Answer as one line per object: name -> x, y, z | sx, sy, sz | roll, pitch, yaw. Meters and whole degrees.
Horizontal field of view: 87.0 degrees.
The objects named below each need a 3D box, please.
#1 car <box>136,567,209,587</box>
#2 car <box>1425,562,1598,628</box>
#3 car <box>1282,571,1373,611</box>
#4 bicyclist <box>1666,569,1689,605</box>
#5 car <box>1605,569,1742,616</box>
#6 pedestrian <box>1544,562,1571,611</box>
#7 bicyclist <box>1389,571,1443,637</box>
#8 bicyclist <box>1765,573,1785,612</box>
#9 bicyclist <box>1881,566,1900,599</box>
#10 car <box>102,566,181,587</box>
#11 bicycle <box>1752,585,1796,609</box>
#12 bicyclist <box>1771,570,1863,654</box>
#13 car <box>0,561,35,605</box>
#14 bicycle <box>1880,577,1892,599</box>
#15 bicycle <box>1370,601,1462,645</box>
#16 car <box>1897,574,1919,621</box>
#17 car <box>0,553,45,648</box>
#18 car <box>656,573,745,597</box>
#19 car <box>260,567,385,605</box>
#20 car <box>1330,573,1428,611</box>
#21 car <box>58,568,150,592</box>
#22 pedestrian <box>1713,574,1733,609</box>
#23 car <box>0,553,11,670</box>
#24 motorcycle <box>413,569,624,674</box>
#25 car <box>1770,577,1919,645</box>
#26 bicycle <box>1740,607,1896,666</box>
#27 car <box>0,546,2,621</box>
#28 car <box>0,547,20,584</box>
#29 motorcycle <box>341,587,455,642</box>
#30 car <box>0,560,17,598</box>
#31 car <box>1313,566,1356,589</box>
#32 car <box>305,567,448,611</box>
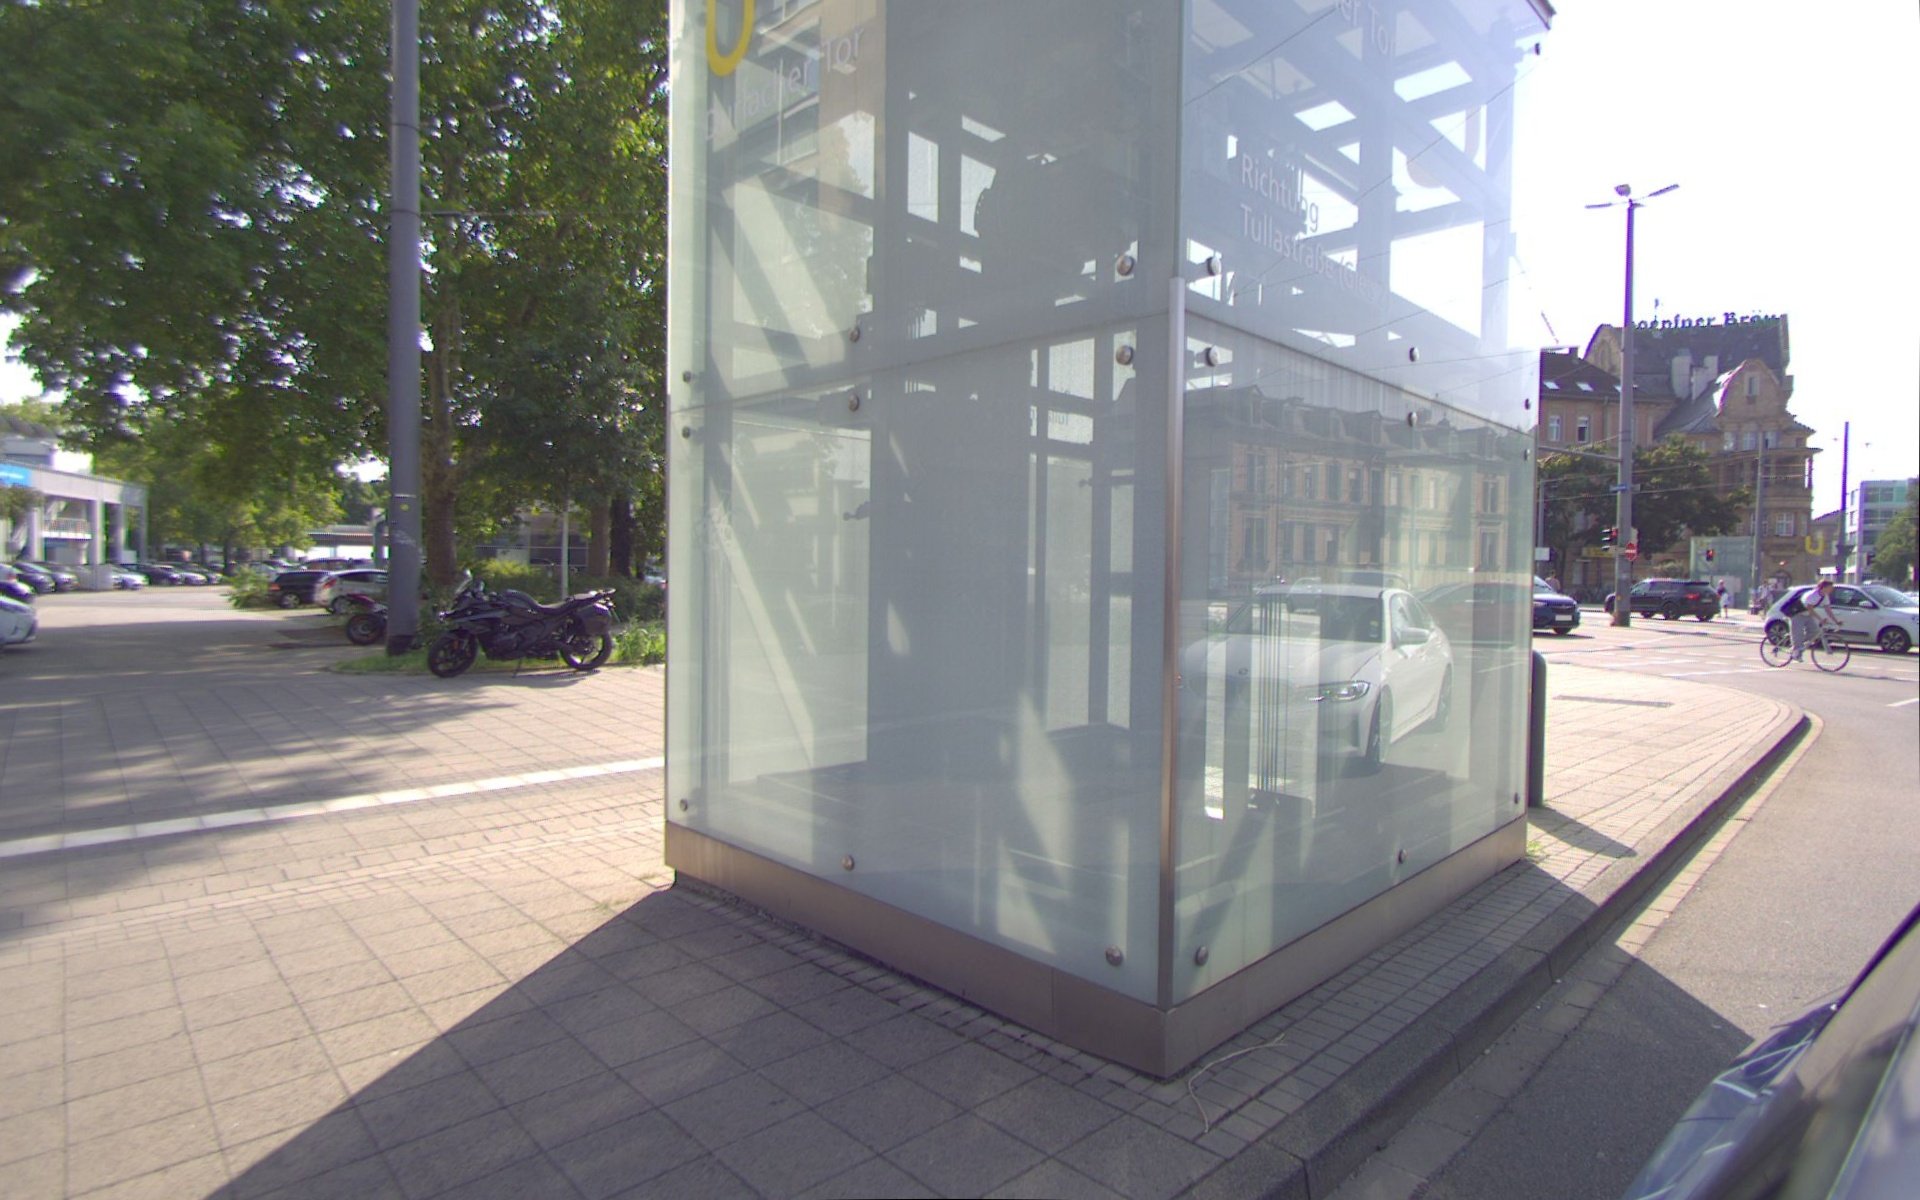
car -> -57.407, -1.697, 73.856 | 3.917, 1.393, 1.746 | 0, 2, -25
car -> 16.641, -0.214, 30.868 | 1.765, 1.850, 4.785 | 1, 2, -15
car -> 14.699, -0.391, 40.703 | 1.766, 1.459, 3.639 | 1, 2, -11
bicyclist -> 34.777, -0.632, 49.046 | 0.575, 1.738, 0.649 | 1, 1, -18
car -> 29.193, -0.343, 41.566 | 1.731, 1.728, 4.300 | 2, 1, -20
pedestrian -> 21.639, -0.503, 36.650 | 0.515, 1.751, 0.599 | 1, 1, -16
bicyclist -> 10.343, 0.084, 22.980 | 0.802, 1.444, 0.732 | 1, 1, -19
bicyclist -> 36.698, -0.350, 45.575 | 0.583, 1.752, 0.588 | 2, 1, 35
bicyclist -> 47.587, -0.891, 51.762 | 0.660, 1.657, 0.905 | 2, 2, 41
car -> -56.702, -1.657, 70.207 | 3.917, 1.393, 1.746 | 0, 2, -25
bicycle -> 36.657, -0.128, 45.594 | 1.517, 1.037, 0.428 | 2, 2, 35
bicyclist -> 16.096, 0.200, 19.018 | 1.066, 1.493, 0.974 | -2, 3, -27
car -> -32.082, -0.559, 32.172 | 3.933, 1.393, 1.996 | -1, 2, -43
bicycle -> 47.480, -0.622, 51.885 | 0.399, 1.103, 1.899 | 2, 2, 41
bicycle -> 10.351, 0.527, 22.963 | 2.031, 0.905, 0.569 | 3, 0, -19
car -> 34.395, -0.018, 33.933 | 1.707, 1.601, 3.985 | 1, 2, -23
car -> -17.206, -0.005, 16.051 | 3.931, 1.525, 1.997 | -1, 2, -42
car -> -13.793, -0.786, 53.792 | 4.306, 1.180, 2.004 | 0, 2, -23
car -> -25.348, -0.584, 40.316 | 3.933, 1.393, 1.996 | -1, 2, -43
car -> 17.229, -0.354, 41.790 | 1.766, 1.433, 4.009 | 1, 2, -11
car -> -52.142, -1.228, 61.730 | 3.917, 1.393, 1.746 | 0, 2, -25
pedestrian -> 36.387, -0.419, 48.281 | 0.495, 1.661, 0.525 | 1, 1, -14
car -> -14.023, 0.142, 11.888 | 4.122, 1.459, 1.659 | -1, 2, -42
motorcycle -> -5.247, 0.227, 12.103 | 2.254, 1.161, 0.706 | 0, 2, -27
car -> 21.482, 0.219, 23.652 | 1.765, 1.453, 3.565 | 0, 2, -16
bicycle -> 16.024, 0.644, 18.969 | 0.518, 1.001, 2.201 | -1, 1, -27
car -> -22.730, -0.333, 21.081 | 3.931, 1.665, 1.997 | -1, 2, -42
car -> -37.471, -1.298, 37.425 | 3.933, 1.393, 1.739 | -1, 2, -43
motorcycle -> -10.922, 0.272, 19.747 | 1.916, 1.014, 0.706 | 0, 2, -27
car -> -36.239, -0.760, 36.004 | 3.933, 1.393, 1.739 | -1, 2, -43
car -> 24.455, -1.483, 66.233 | 1.647, 1.465, 3.777 | 2, 2, 5
car -> -20.027, -0.399, 34.795 | 3.933, 1.393, 1.996 | -1, 2, -43
